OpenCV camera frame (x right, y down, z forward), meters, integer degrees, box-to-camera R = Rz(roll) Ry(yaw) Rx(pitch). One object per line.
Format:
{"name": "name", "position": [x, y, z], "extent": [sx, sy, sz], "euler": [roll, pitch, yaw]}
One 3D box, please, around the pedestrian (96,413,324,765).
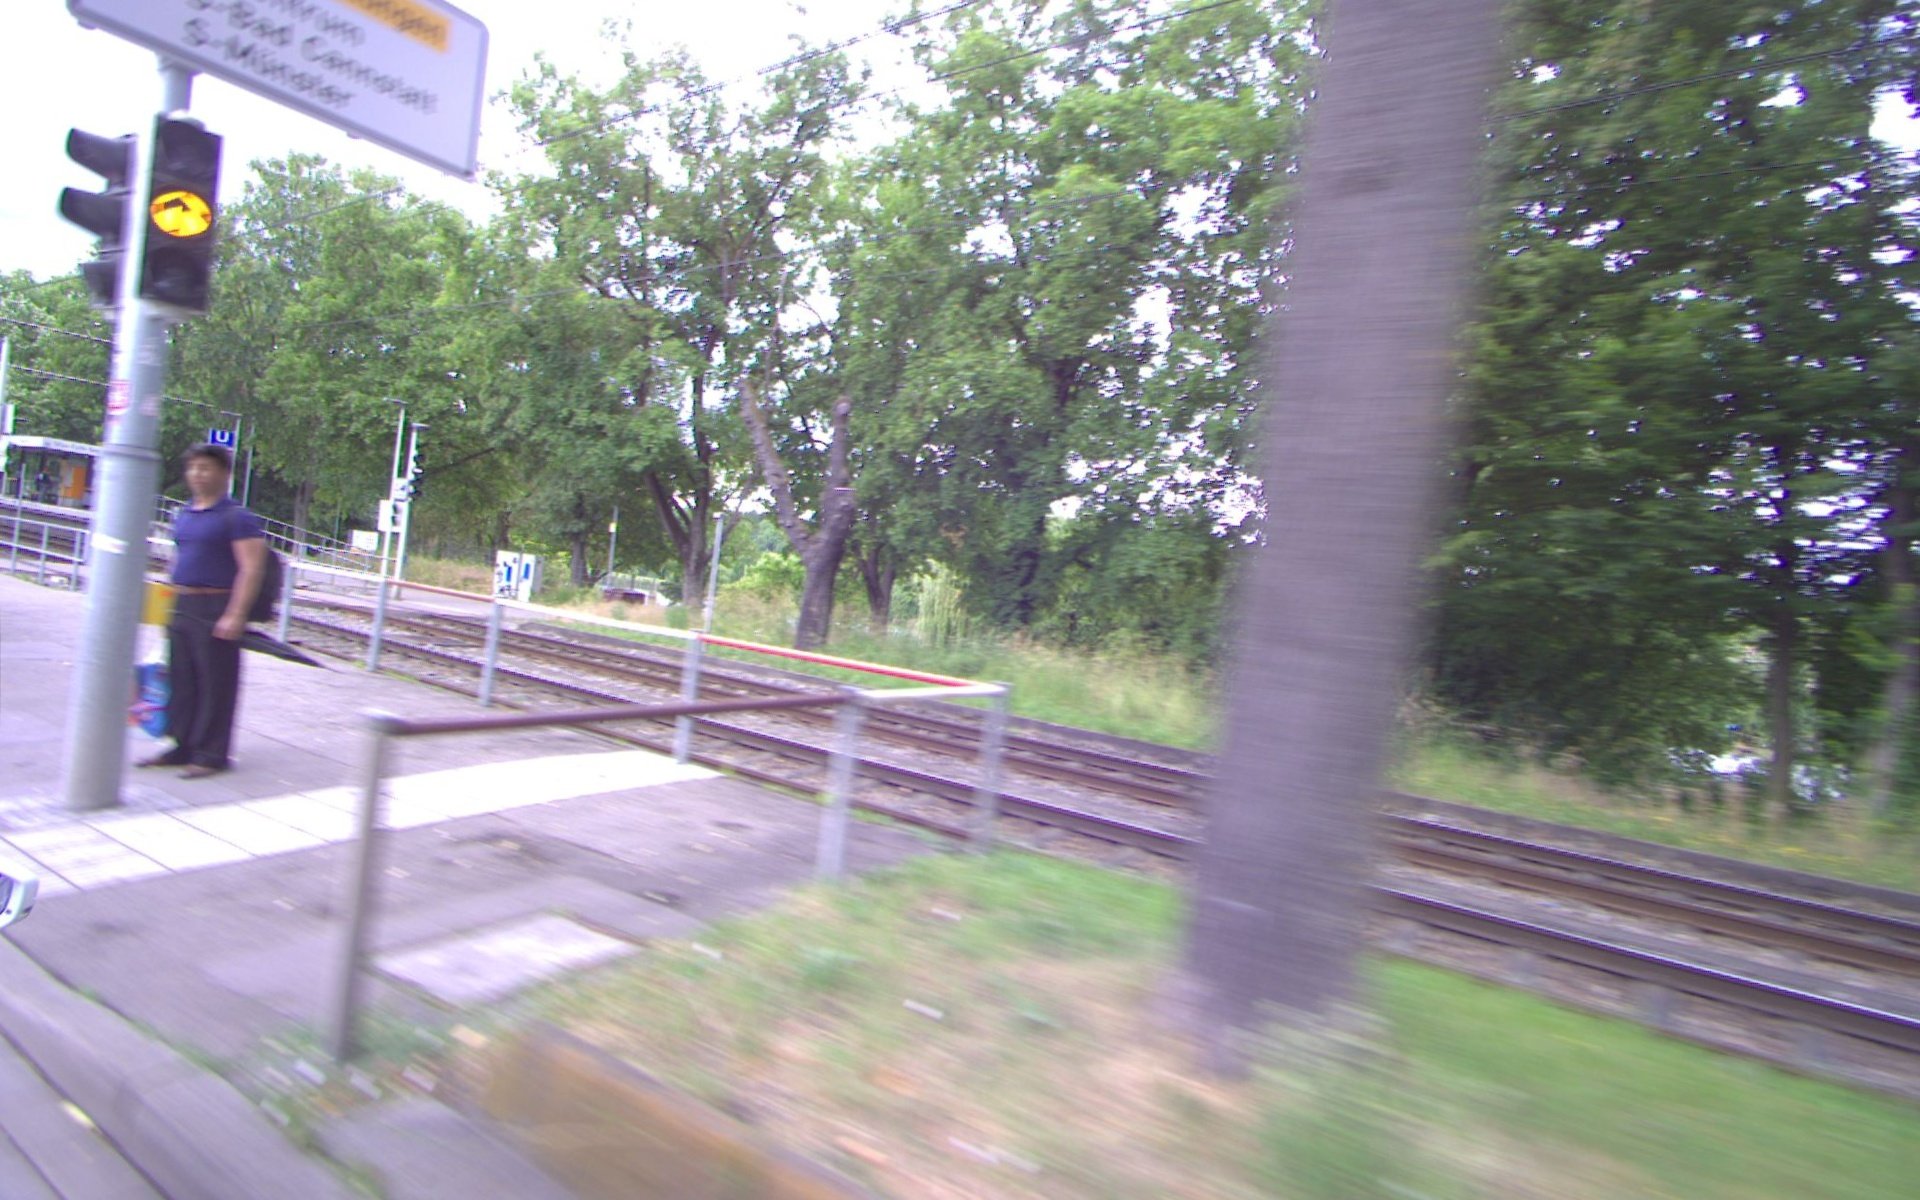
{"name": "pedestrian", "position": [-4.148, -0.068, 5.562], "extent": [0.827, 1.760, 0.750], "euler": [7, 3, 39]}

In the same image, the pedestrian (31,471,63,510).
{"name": "pedestrian", "position": [-39.253, -4.716, 43.253], "extent": [0.713, 1.528, 0.719], "euler": [7, -2, 37]}
